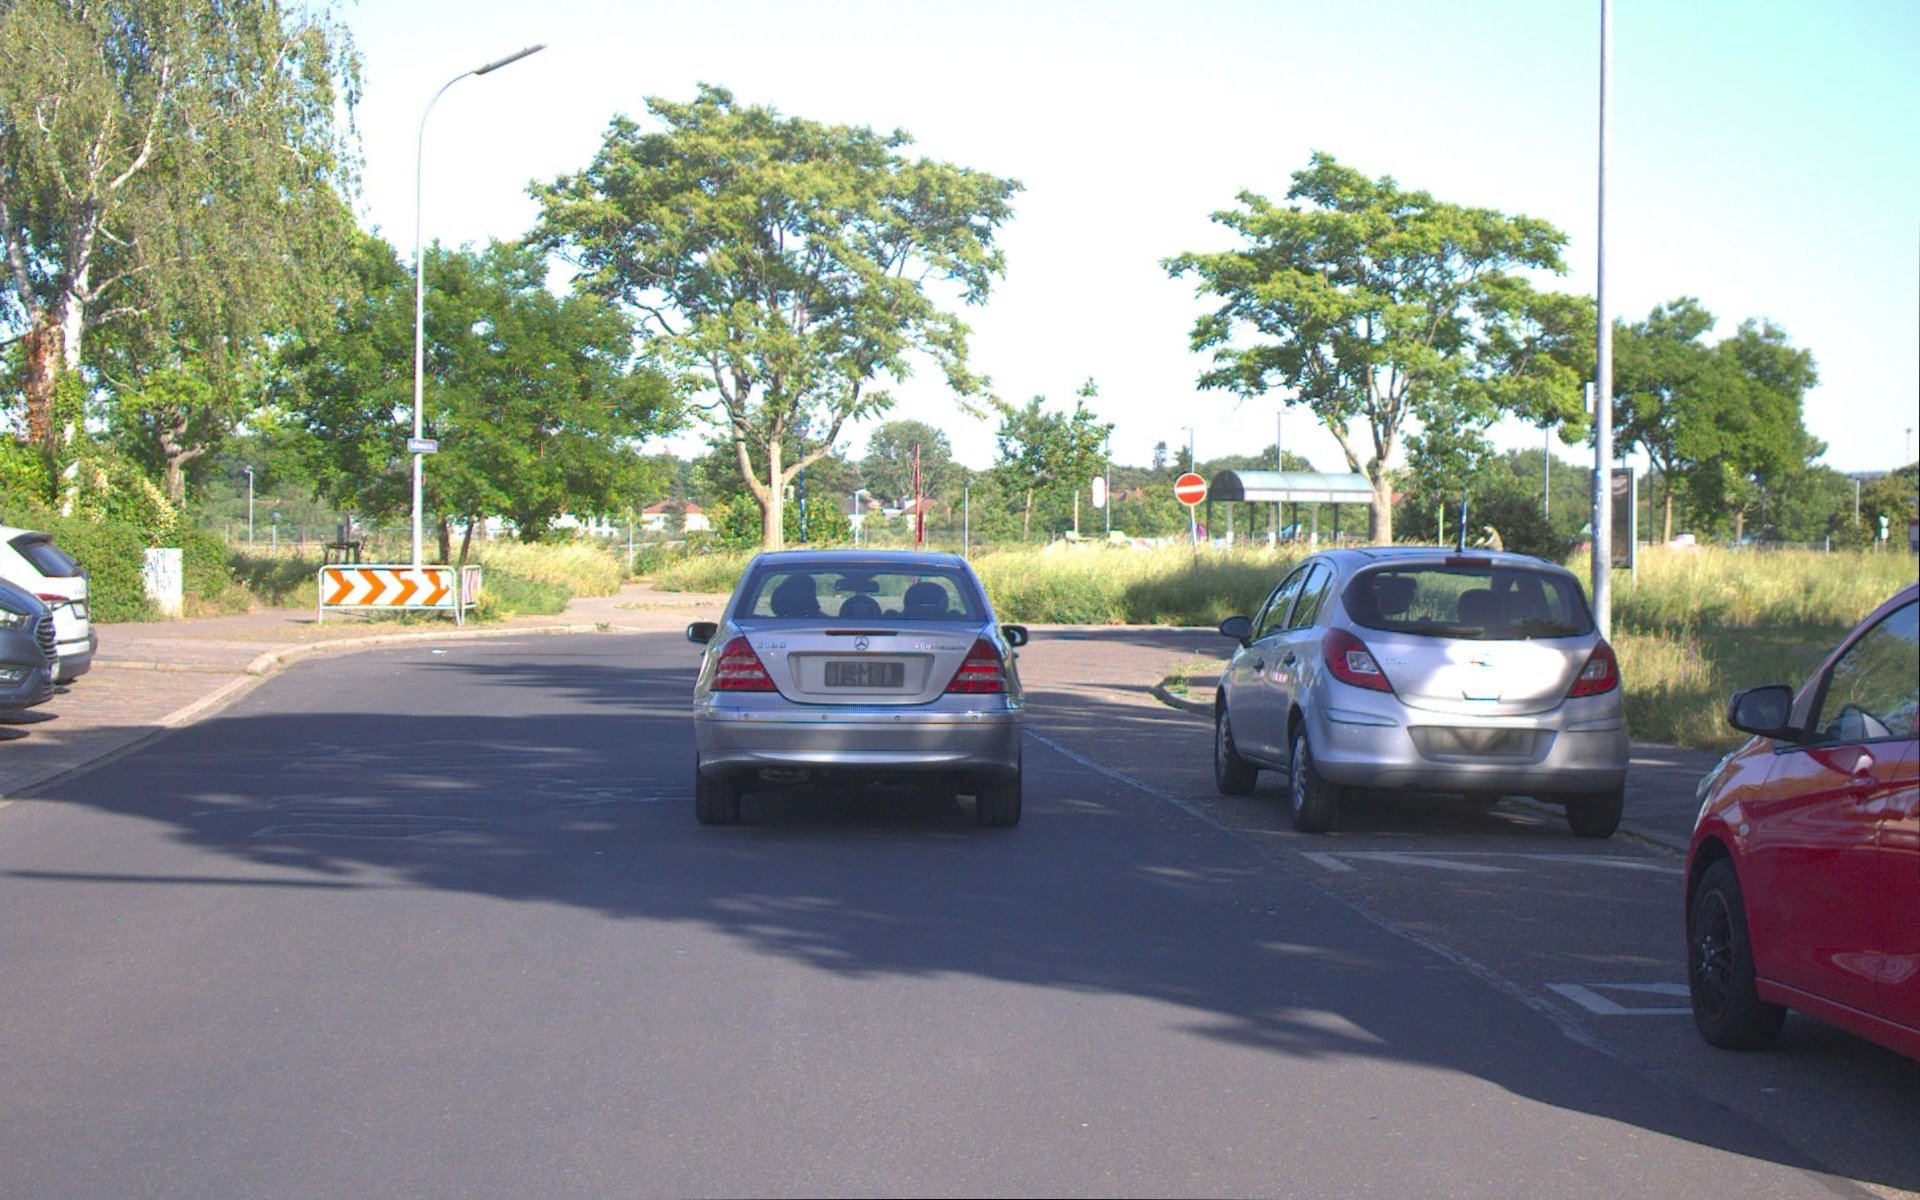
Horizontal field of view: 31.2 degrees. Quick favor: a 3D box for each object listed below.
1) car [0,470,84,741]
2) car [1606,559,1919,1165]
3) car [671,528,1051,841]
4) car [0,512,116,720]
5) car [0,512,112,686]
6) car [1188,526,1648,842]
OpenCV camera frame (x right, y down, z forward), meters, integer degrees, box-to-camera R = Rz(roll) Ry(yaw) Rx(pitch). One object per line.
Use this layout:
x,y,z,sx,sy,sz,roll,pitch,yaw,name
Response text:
-9.015,-0.016,25.006,4.870,1.909,2.000,1,1,-7,car
3.016,0.632,9.155,1.575,1.441,3.789,1,1,-5,car
-0.575,0.368,18.955,1.816,1.458,4.361,2,1,-2,car
-8.823,0.048,27.673,3.612,1.601,1.733,3,0,-3,car
-10.365,-0.094,32.990,3.986,1.606,1.819,3,0,-3,car
2.418,0.400,19.059,1.731,1.537,3.789,1,1,-5,car
